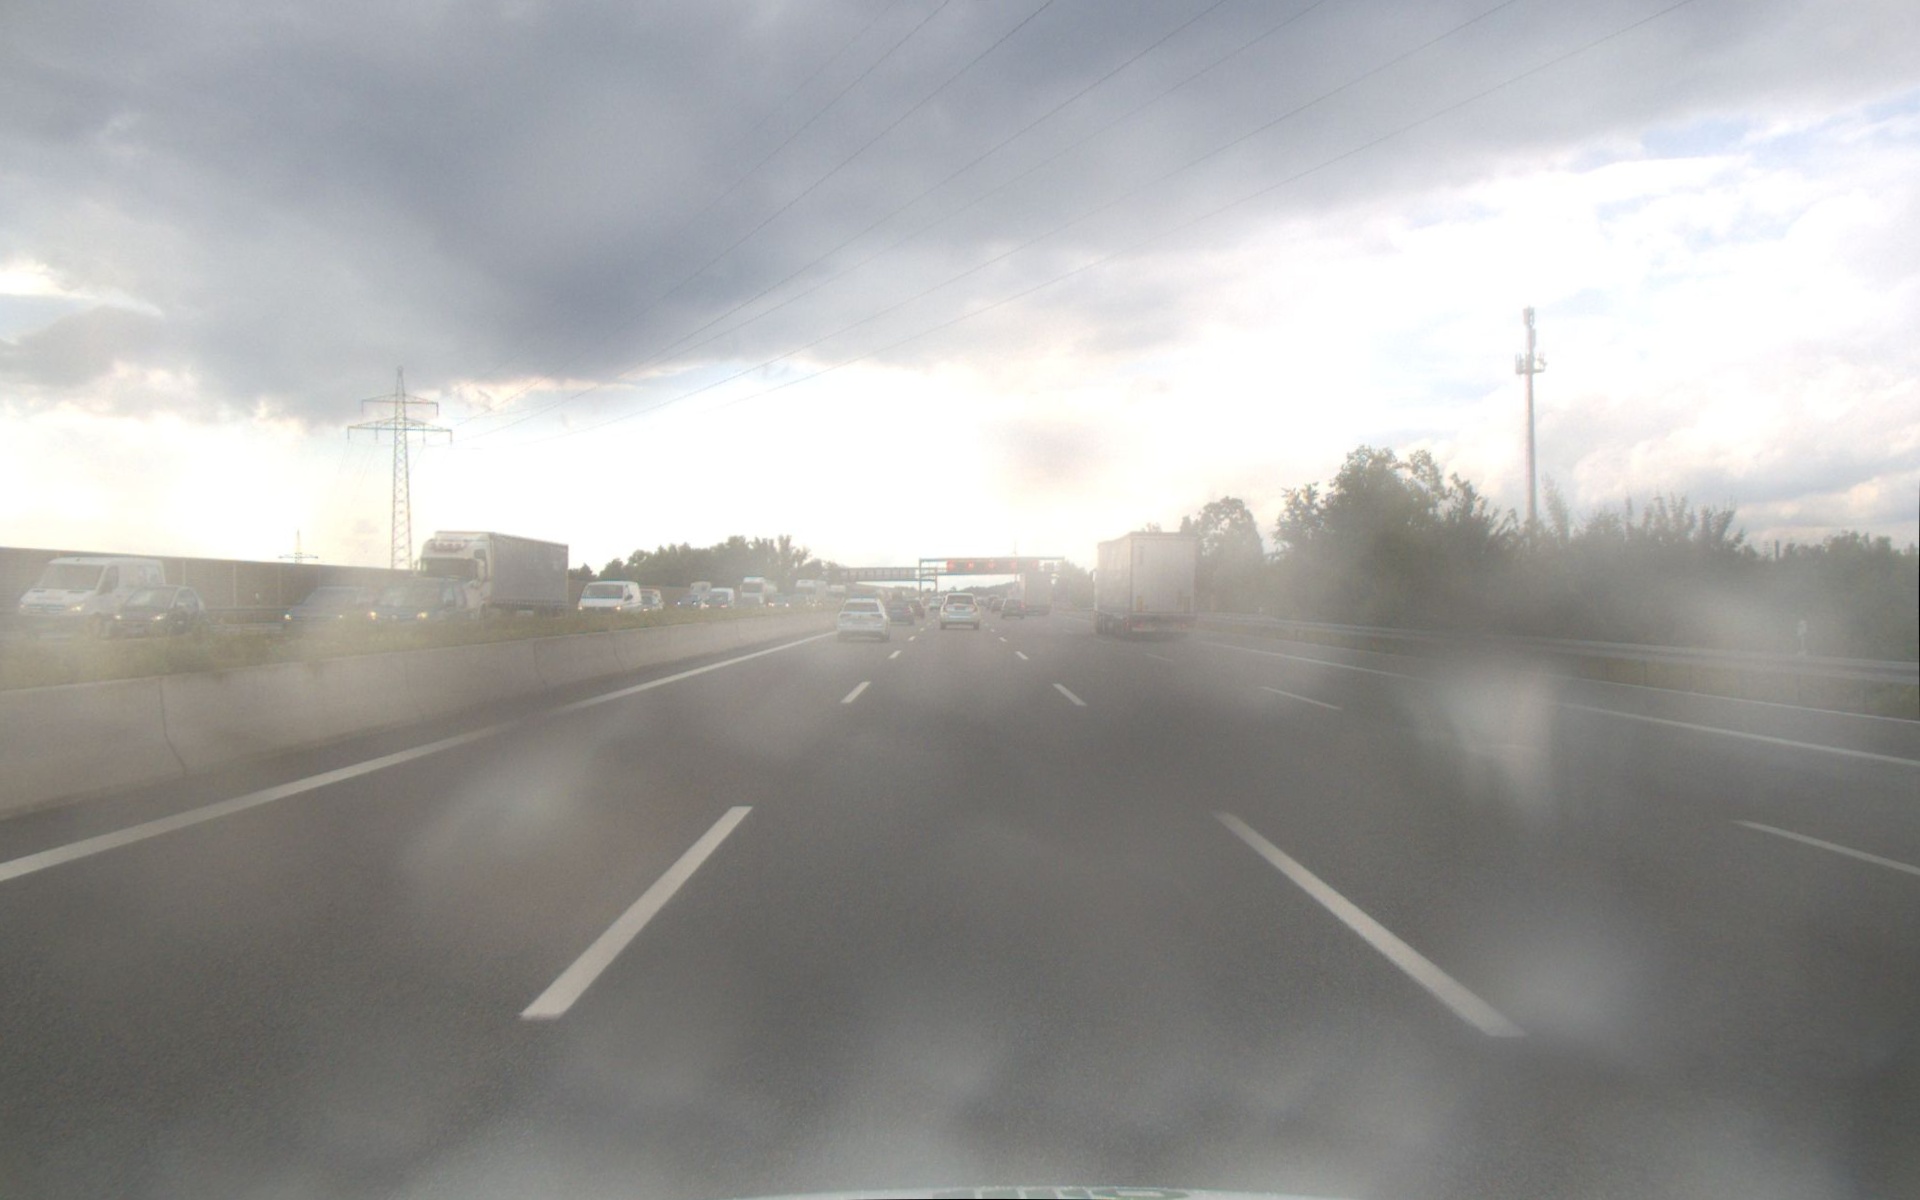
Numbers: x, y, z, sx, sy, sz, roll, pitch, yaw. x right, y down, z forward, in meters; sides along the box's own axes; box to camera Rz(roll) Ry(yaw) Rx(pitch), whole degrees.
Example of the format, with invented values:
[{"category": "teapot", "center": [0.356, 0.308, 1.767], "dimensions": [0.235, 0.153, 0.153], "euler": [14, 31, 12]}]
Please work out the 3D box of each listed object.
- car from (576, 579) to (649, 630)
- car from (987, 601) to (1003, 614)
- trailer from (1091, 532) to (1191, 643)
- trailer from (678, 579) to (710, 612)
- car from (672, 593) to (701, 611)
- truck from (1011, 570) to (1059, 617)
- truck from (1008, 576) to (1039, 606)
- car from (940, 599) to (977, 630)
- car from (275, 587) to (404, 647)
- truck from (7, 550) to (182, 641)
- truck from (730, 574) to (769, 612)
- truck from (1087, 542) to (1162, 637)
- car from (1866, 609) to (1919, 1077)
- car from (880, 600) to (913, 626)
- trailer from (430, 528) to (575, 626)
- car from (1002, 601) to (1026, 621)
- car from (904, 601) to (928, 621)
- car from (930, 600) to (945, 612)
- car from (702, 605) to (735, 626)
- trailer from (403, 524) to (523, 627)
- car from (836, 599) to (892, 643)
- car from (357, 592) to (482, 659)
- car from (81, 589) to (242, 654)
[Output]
[{"category": "car", "center": [-13.998, 0.186, 66.894], "dimensions": [1.883, 1.933, 5.159], "euler": [1, 0, -1]}, {"category": "car", "center": [3.916, 0.833, 185.585], "dimensions": [1.798, 1.466, 4.055], "euler": [1, 0, 1]}, {"category": "trailer", "center": [7.258, -0.469, 68.297], "dimensions": [2.900, 4.090, 14.120], "euler": [1, 0, 1]}, {"category": "trailer", "center": [-24.833, -0.402, 154.668], "dimensions": [2.202, 3.014, 4.899], "euler": [1, 0, -1]}, {"category": "car", "center": [-24.759, 0.183, 149.793], "dimensions": [1.925, 1.623, 4.820], "euler": [1, 0, -1]}, {"category": "truck", "center": [7.300, -0.607, 162.427], "dimensions": [4.094, 4.363, 12.612], "euler": [1, 0, 0]}, {"category": "truck", "center": [9.205, -1.238, 240.571], "dimensions": [4.156, 4.249, 11.990], "euler": [1, 0, 1]}, {"category": "car", "center": [-0.094, 0.694, 81.482], "dimensions": [1.736, 1.466, 4.054], "euler": [1, 0, -1]}, {"category": "car", "center": [-17.360, 0.456, 46.566], "dimensions": [1.729, 1.563, 5.159], "euler": [1, 0, -1]}, {"category": "truck", "center": [-25.149, -0.113, 48.355], "dimensions": [2.073, 2.459, 5.795], "euler": [1, 0, -1]}, {"category": "truck", "center": [-25.593, -0.800, 201.330], "dimensions": [3.585, 4.394, 8.237], "euler": [1, 0, 0]}, {"category": "truck", "center": [7.409, -0.456, 75.331], "dimensions": [2.900, 4.090, 6.589], "euler": [1, 0, 1]}, {"category": "car", "center": [3.750, 0.773, 3.939], "dimensions": [1.417, 1.466, 3.163], "euler": [1, 0, -1]}, {"category": "car", "center": [-3.569, 0.716, 93.547], "dimensions": [1.736, 1.466, 4.054], "euler": [1, 0, -1]}, {"category": "trailer", "center": [-21.275, -0.959, 77.912], "dimensions": [3.252, 4.132, 13.285], "euler": [1, 0, -1]}, {"category": "car", "center": [4.174, 0.839, 128.457], "dimensions": [1.798, 1.466, 4.055], "euler": [1, 0, 1]}, {"category": "car", "center": [-3.339, 0.853, 125.279], "dimensions": [1.736, 1.466, 4.054], "euler": [1, 0, -1]}, {"category": "car", "center": [-2.703, 0.687, 201.089], "dimensions": [1.736, 1.466, 4.055], "euler": [1, 0, 1]}, {"category": "car", "center": [-17.712, 1.101, 121.471], "dimensions": [1.729, 1.480, 4.942], "euler": [1, 0, -1]}, {"category": "trailer", "center": [-21.135, -0.989, 70.715], "dimensions": [3.252, 4.114, 6.077], "euler": [1, 0, -1]}, {"category": "car", "center": [-3.290, 0.709, 57.365], "dimensions": [1.736, 1.466, 3.873], "euler": [1, 0, -1]}, {"category": "car", "center": [-13.555, 0.625, 41.746], "dimensions": [1.729, 1.563, 4.482], "euler": [1, 0, -1]}, {"category": "car", "center": [-20.691, 0.548, 43.141], "dimensions": [1.729, 1.563, 5.159], "euler": [1, 0, -1]}]
